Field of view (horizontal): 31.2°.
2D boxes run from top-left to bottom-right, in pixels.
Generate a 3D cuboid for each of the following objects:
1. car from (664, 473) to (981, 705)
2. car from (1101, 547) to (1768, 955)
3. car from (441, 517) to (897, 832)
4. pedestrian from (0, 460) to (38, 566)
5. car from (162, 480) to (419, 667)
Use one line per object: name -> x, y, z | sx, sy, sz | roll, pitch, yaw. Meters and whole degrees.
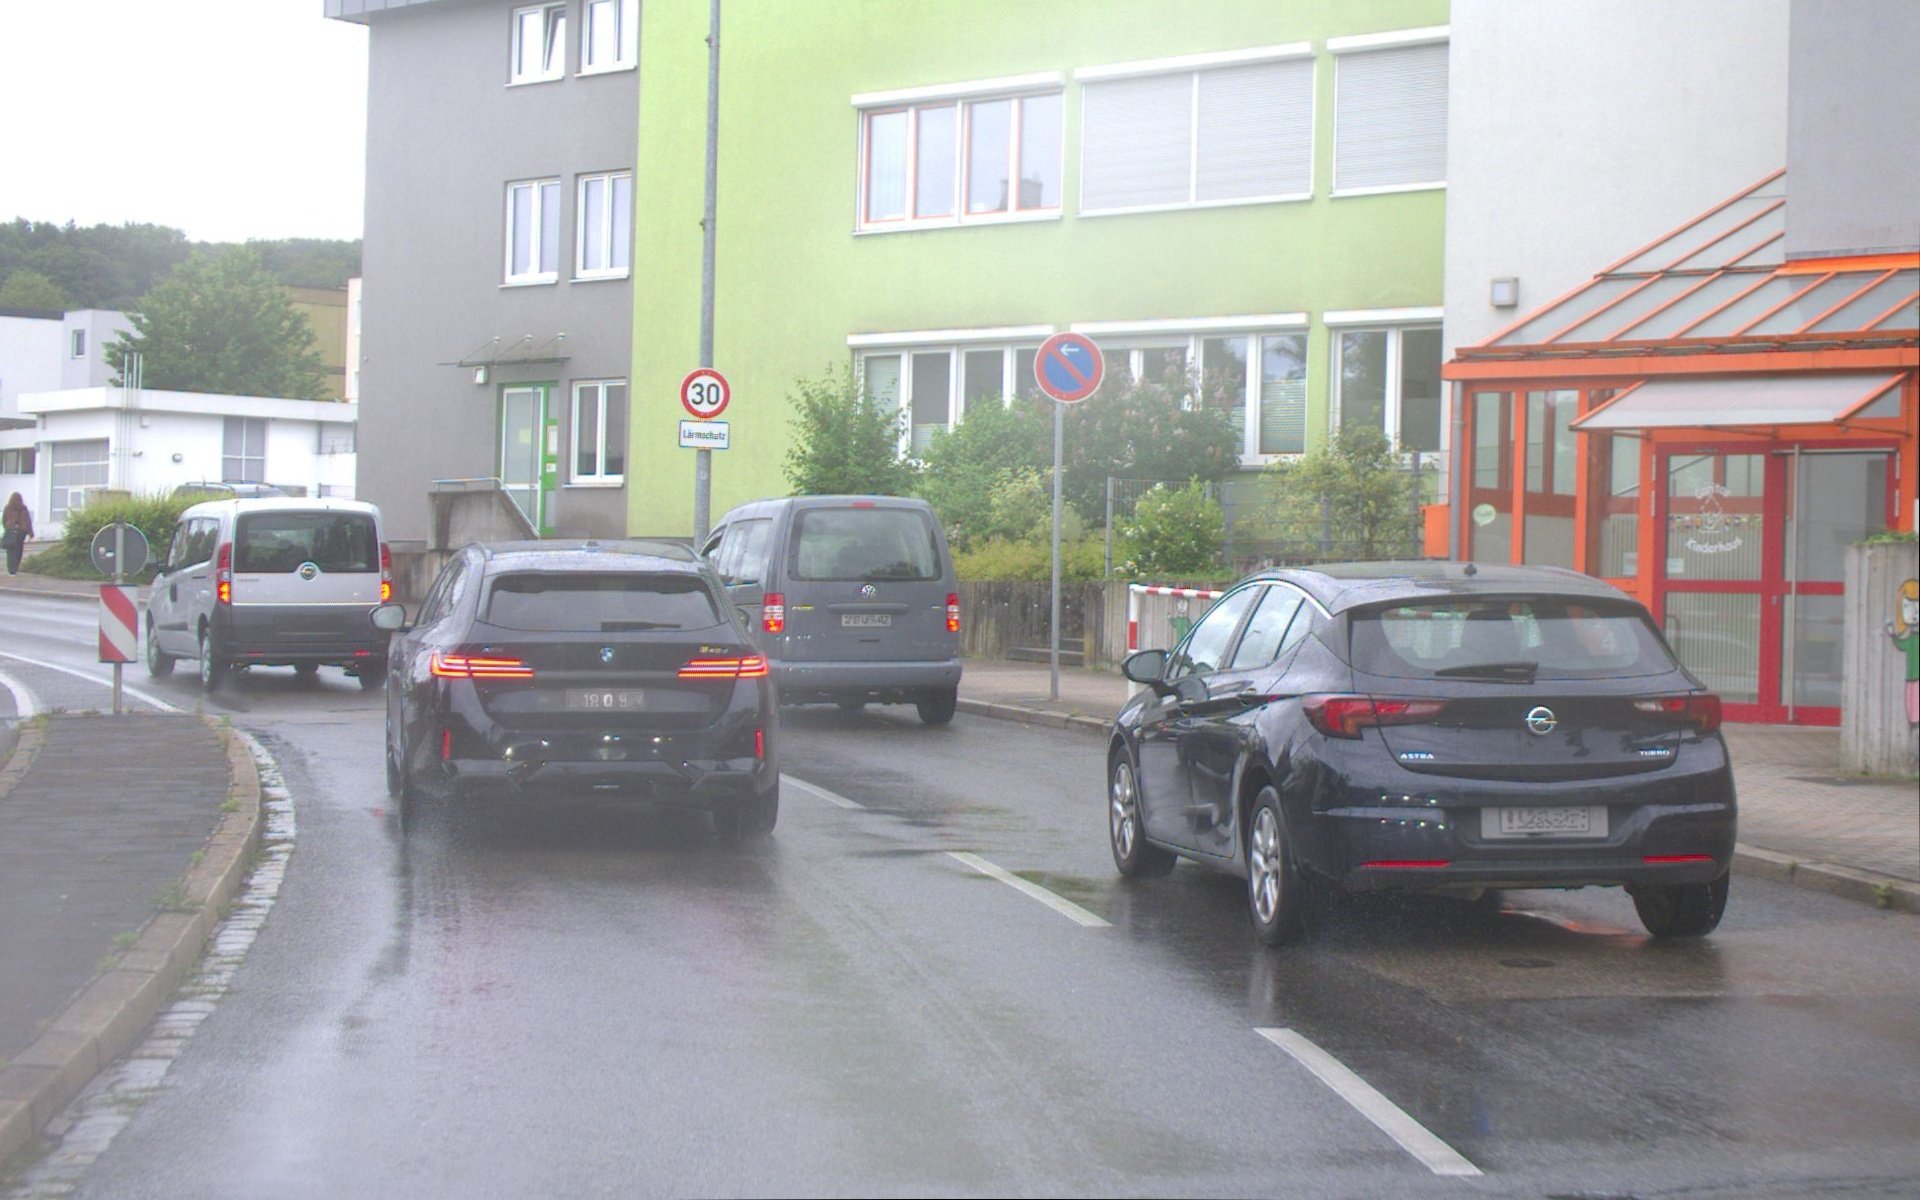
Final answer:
car -> -1.215, -0.079, 28.430 | 1.838, 1.761, 4.001 | 1, 0, -14
car -> 1.789, 0.516, 14.288 | 1.756, 1.444, 4.001 | 1, 1, -7
car -> -1.665, 0.364, 18.282 | 1.993, 1.479, 4.001 | 1, 0, -11
pedestrian -> -18.211, -1.665, 66.062 | 0.613, 2.007, 0.717 | 1, 0, 21
car -> -6.761, -0.242, 34.416 | 1.993, 1.732, 4.001 | 1, 0, -19
